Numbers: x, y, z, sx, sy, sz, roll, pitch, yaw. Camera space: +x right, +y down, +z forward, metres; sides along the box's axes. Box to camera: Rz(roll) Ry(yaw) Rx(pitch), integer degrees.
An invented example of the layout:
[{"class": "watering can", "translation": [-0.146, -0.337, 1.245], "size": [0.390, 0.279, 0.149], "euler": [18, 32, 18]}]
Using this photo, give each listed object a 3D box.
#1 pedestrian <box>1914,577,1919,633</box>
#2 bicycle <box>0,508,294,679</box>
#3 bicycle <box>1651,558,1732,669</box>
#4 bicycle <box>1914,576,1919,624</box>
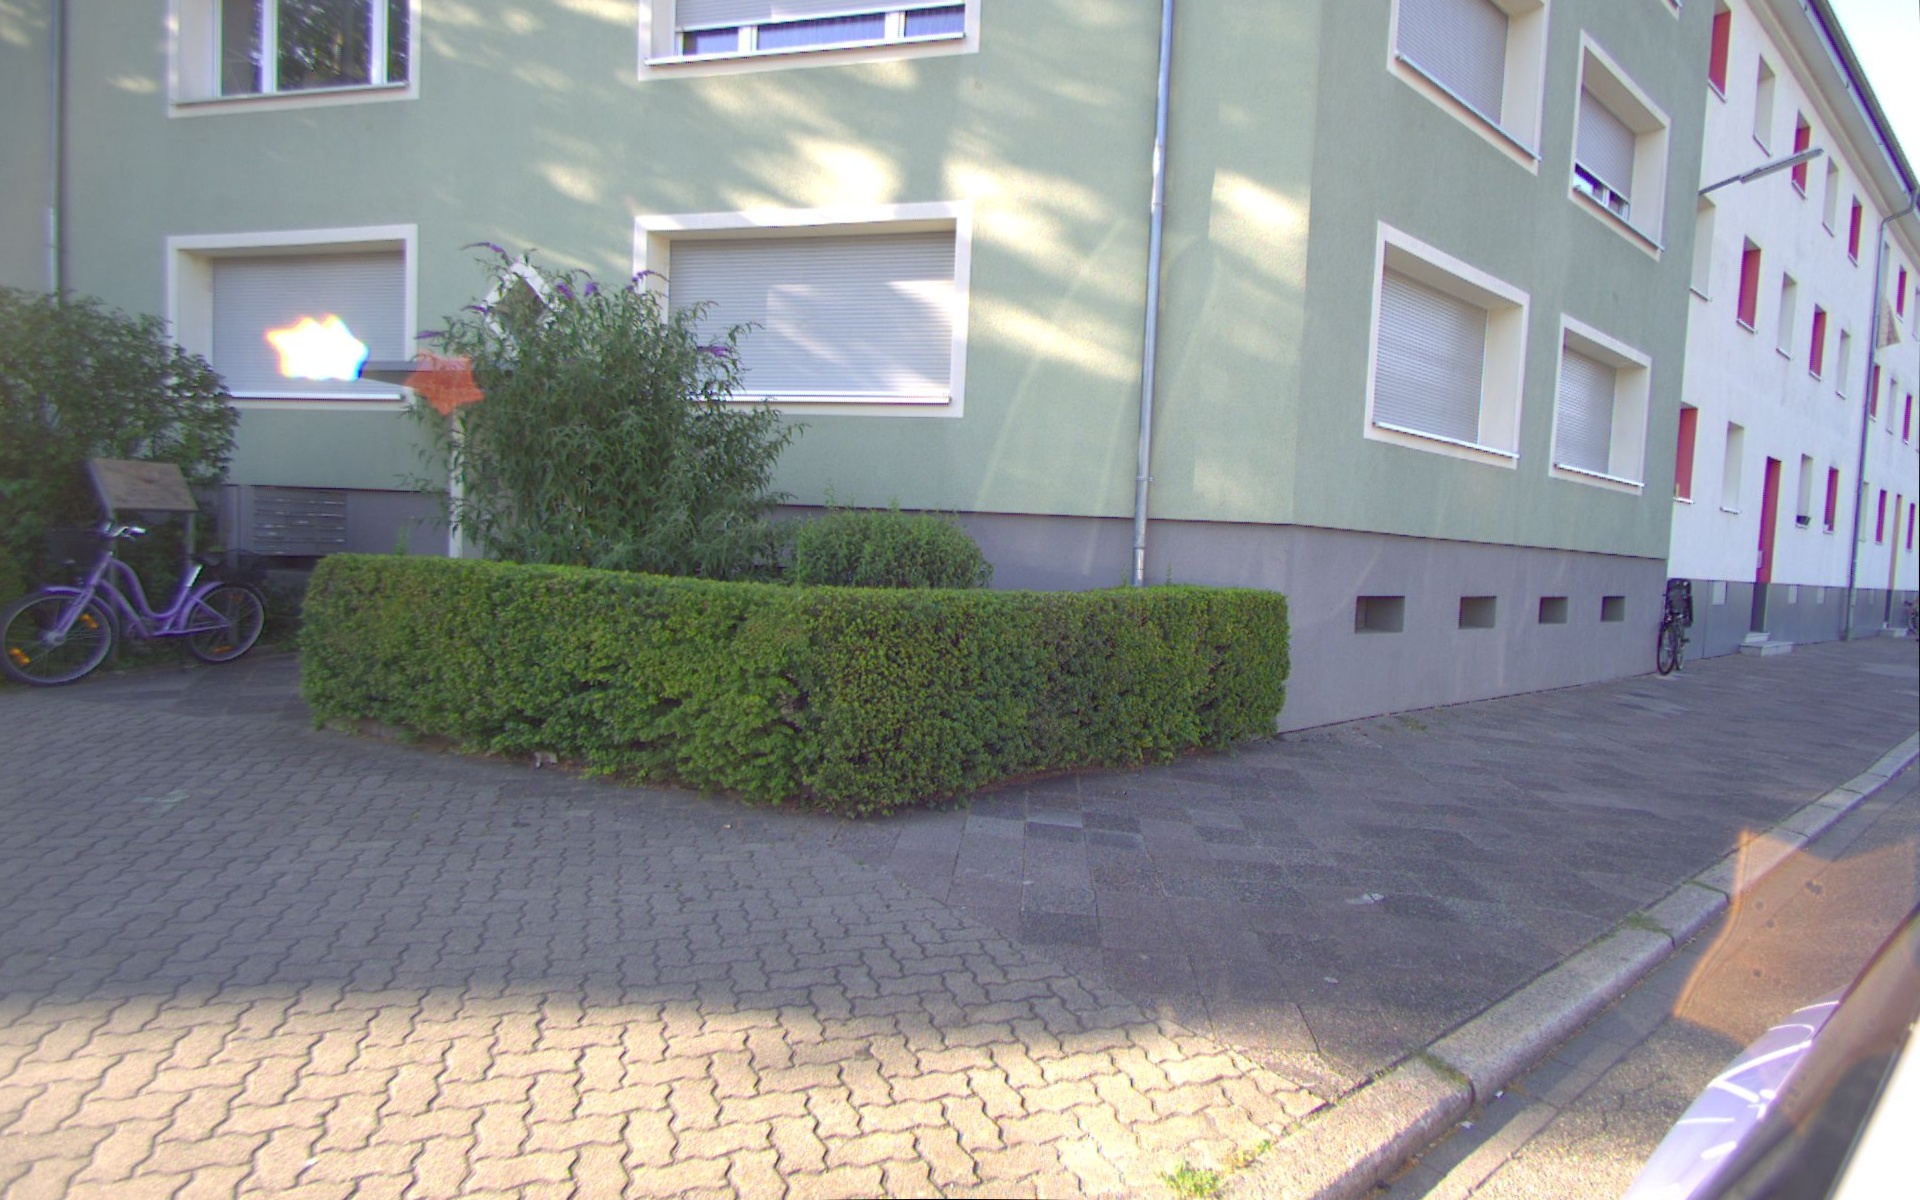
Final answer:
[{"class": "pedestrian", "translation": [25.896, 0.034, 26.733], "size": [0.933, 1.727, 0.787], "euler": [0, 4, -41]}, {"class": "bicycle", "translation": [-5.914, -0.087, 7.286], "size": [0.515, 1.069, 1.920], "euler": [3, 3, 22]}, {"class": "bicycle", "translation": [10.129, 0.158, 13.987], "size": [1.843, 1.429, 0.517], "euler": [-1, 4, -44]}, {"class": "bicycle", "translation": [29.428, 0.009, 30.735], "size": [1.843, 1.429, 0.517], "euler": [-1, 4, -44]}]
